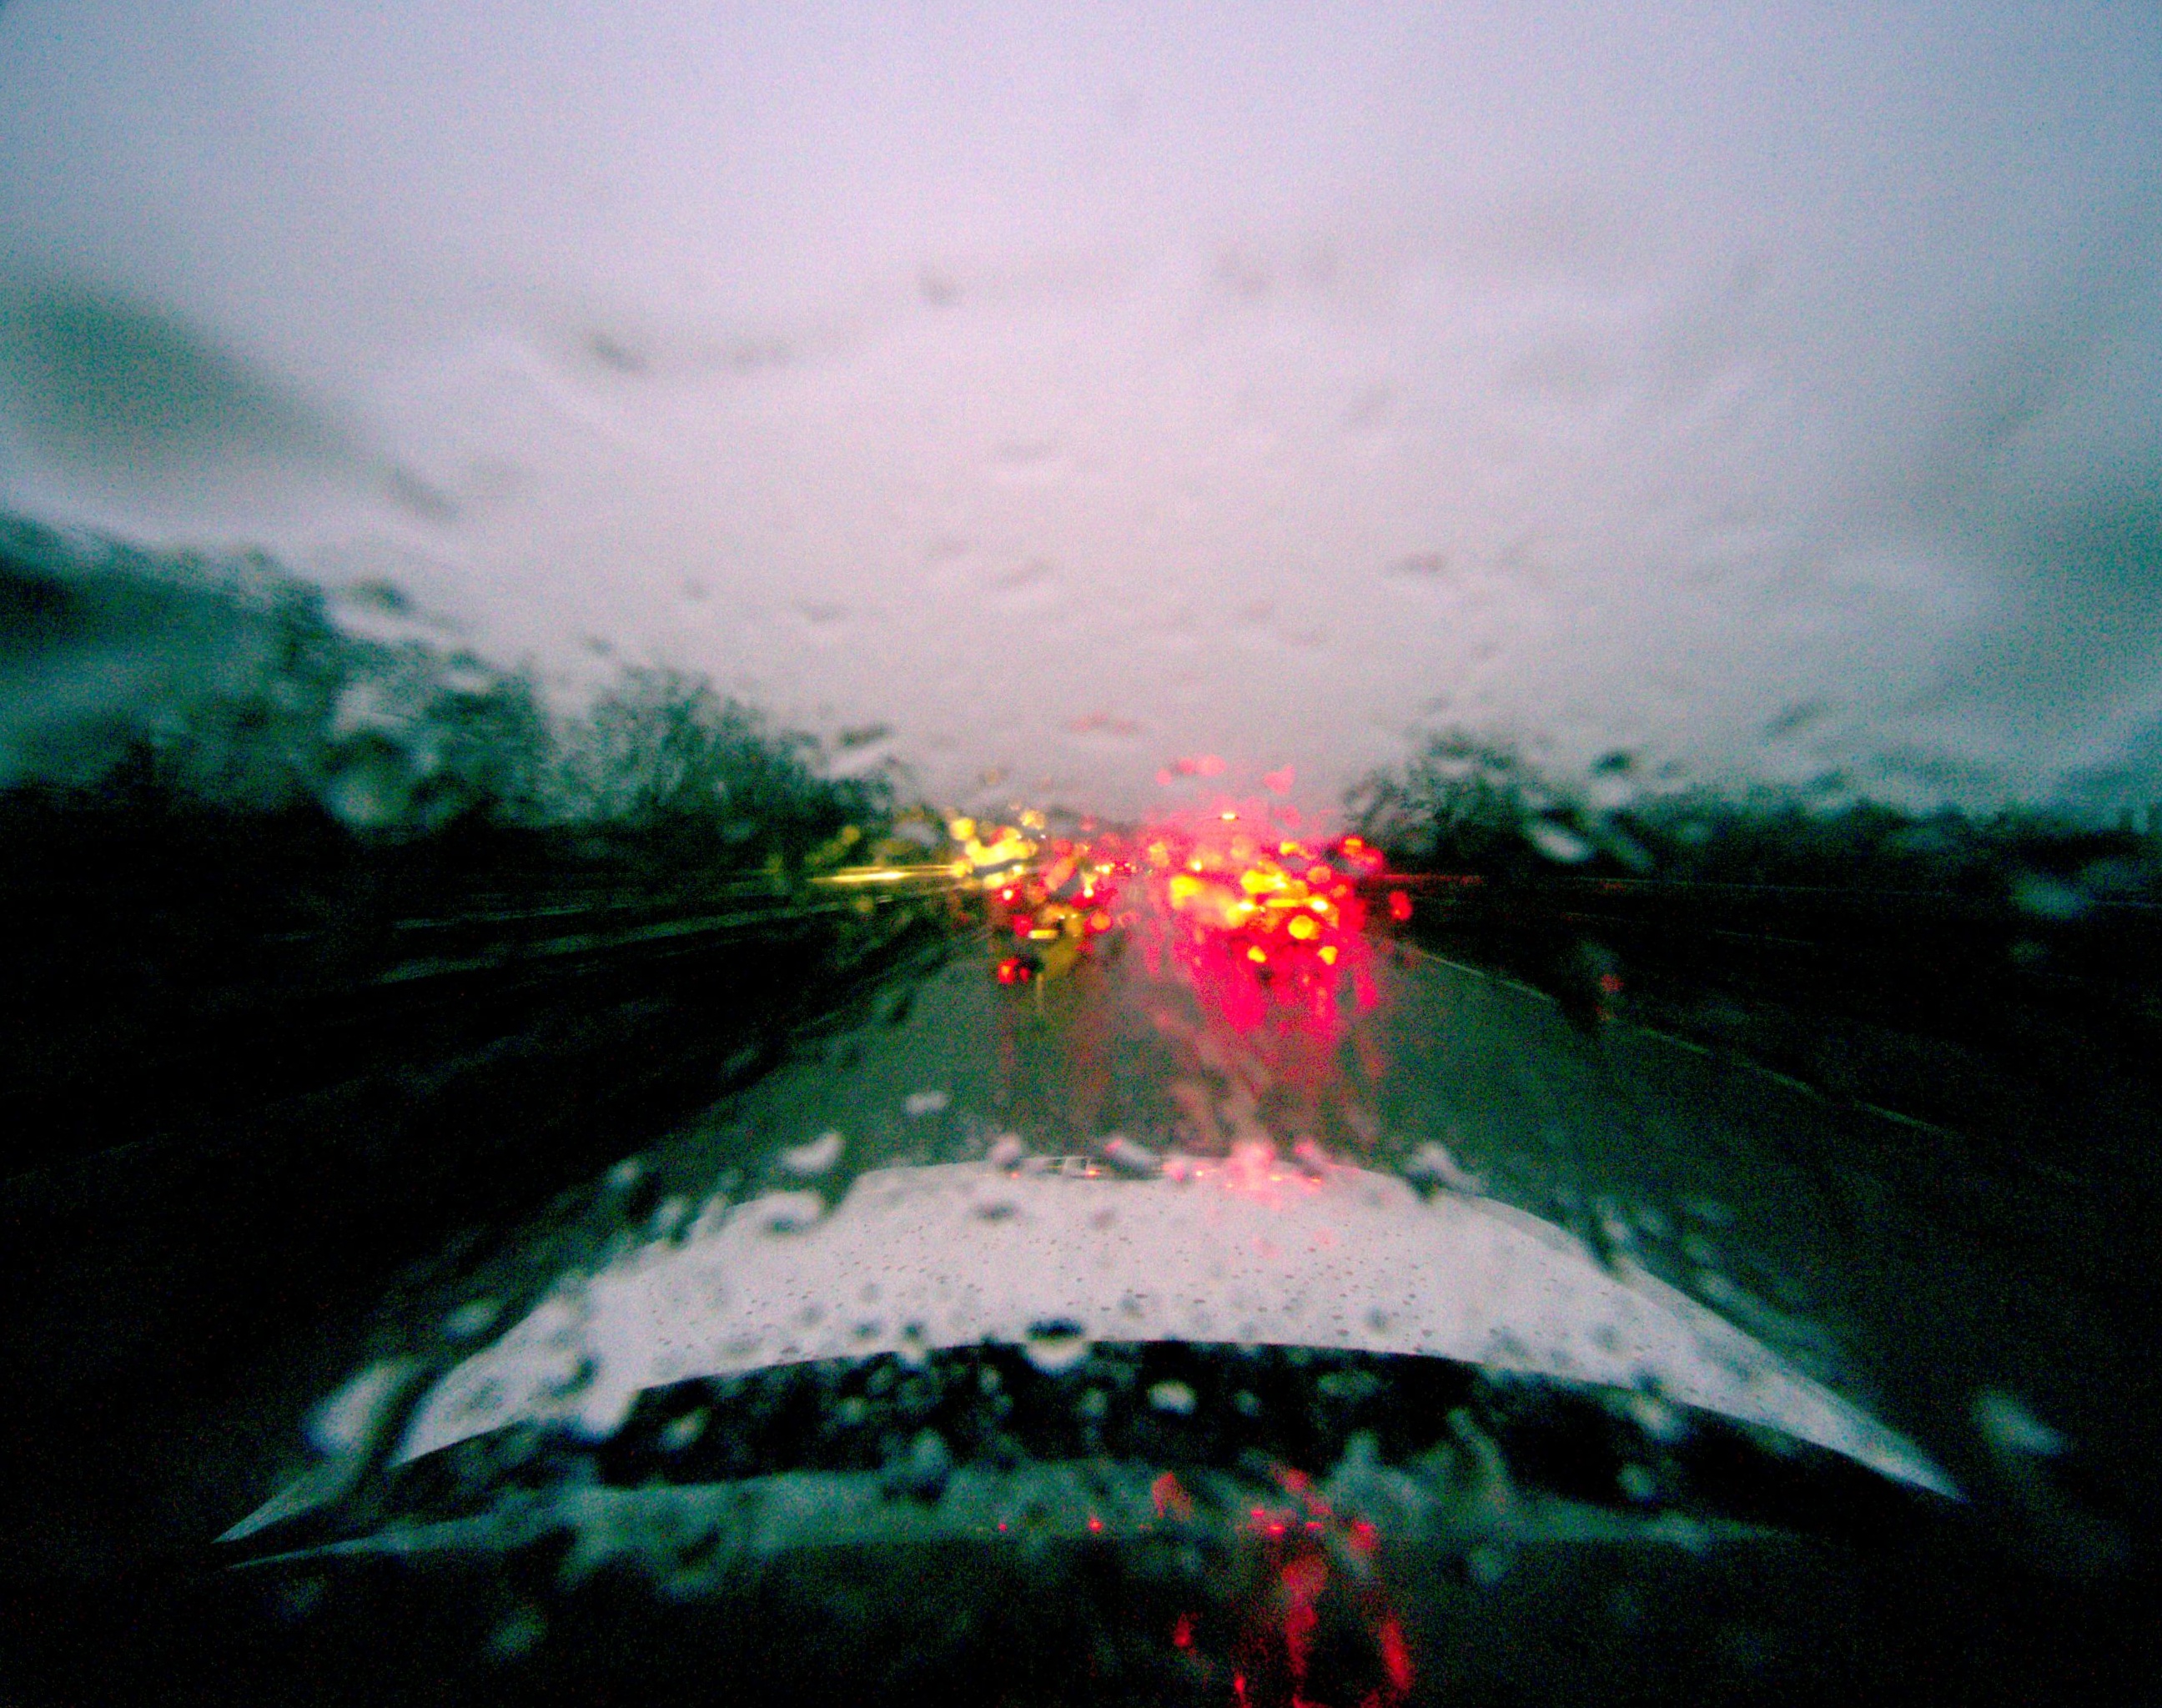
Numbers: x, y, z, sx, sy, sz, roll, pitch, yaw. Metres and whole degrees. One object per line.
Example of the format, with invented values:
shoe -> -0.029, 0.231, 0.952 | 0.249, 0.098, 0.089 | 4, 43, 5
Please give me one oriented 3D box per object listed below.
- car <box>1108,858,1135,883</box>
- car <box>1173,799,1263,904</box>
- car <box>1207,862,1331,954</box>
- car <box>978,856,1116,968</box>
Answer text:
car -> 3.211, 1.252, 64.901 | 1.986, 1.814, 4.003 | 2, 0, 2
car -> 4.303, -0.034, 26.651 | 2.271, 2.966, 6.397 | -1, -1, 4
car -> 3.426, 0.910, 15.606 | 1.728, 1.414, 4.384 | 2, 0, 5
car -> -0.392, 0.858, 13.314 | 1.722, 1.533, 4.047 | -1, -1, 5
